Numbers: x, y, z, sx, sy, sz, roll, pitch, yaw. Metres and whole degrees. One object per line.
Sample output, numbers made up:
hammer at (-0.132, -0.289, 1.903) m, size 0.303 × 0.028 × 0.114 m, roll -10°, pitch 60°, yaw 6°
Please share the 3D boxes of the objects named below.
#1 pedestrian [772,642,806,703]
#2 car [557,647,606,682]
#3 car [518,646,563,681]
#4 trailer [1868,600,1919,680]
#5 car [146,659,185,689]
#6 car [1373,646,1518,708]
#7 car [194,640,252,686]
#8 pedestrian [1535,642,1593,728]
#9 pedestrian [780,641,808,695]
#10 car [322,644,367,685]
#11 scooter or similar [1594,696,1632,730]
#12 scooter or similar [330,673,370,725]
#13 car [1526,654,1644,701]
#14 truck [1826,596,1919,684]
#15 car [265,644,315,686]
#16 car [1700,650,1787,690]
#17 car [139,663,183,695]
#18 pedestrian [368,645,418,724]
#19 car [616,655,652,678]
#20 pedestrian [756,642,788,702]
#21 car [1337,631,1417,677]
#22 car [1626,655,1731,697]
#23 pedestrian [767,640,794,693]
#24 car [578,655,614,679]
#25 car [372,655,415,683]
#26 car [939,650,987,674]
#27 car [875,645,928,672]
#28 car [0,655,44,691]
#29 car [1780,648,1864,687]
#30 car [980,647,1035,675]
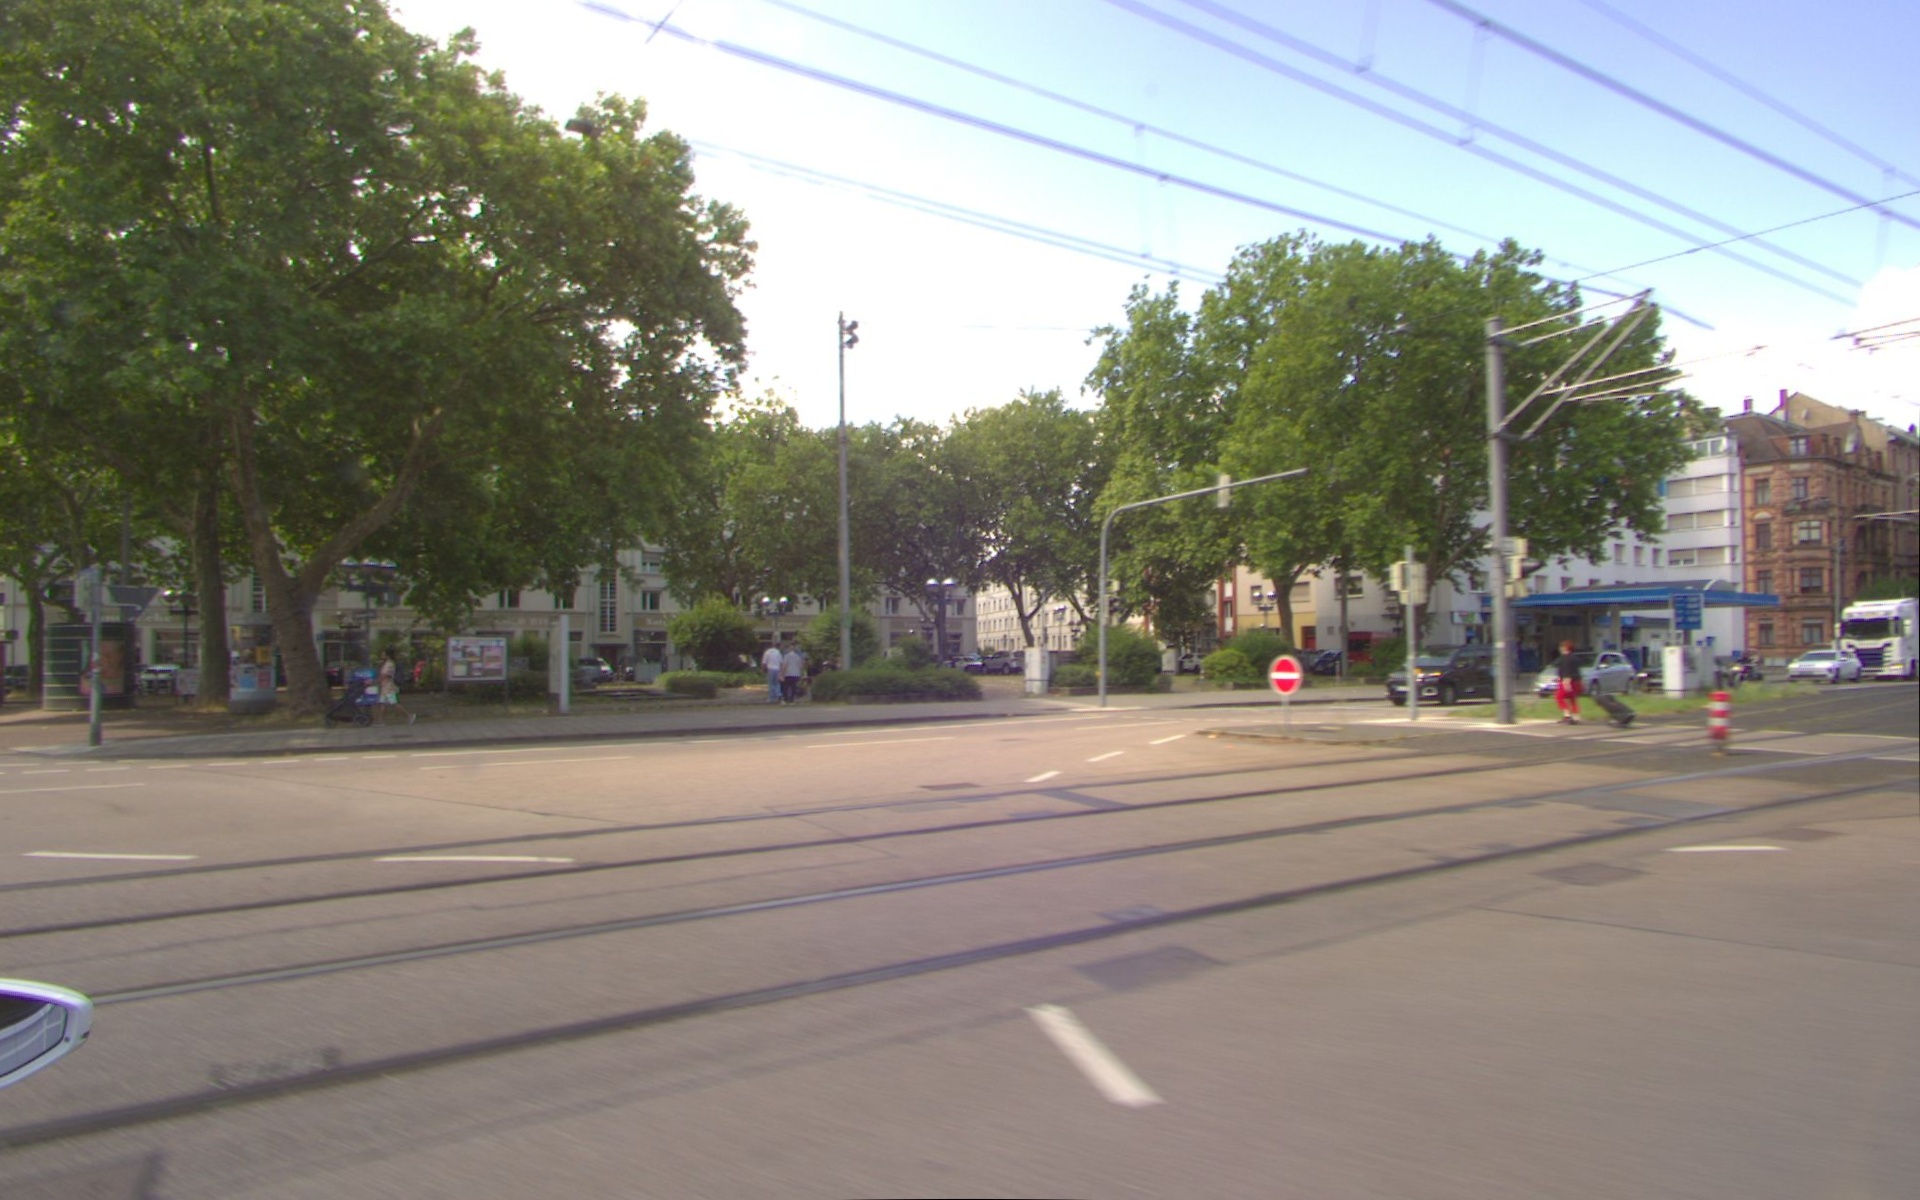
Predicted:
pedestrian at (-4.985, 2.107, 29.180) m, size 0.683 × 1.744 × 0.716 m, roll -1°, pitch -2°, yaw 34°
car at (-23.127, 3.903, 61.169) m, size 1.974 × 2.038 × 3.977 m, roll 1°, pitch -3°, yaw -33°
car at (-25.089, 3.786, 59.853) m, size 1.972 × 2.038 × 3.981 m, roll 1°, pitch -3°, yaw -30°
trailer at (53.834, 2.179, 54.602) m, size 11.483 × 4.128 × 2.904 m, roll 1°, pitch -3°, yaw -30°
car at (-39.234, 3.646, 49.468) m, size 1.454 × 1.406 × 3.212 m, roll 2°, pitch -4°, yaw -39°
car at (14.641, 2.265, 30.138) m, size 4.358 × 1.748 × 1.845 m, roll 2°, pitch -3°, yaw -31°
car at (-37.282, 3.184, 50.743) m, size 1.973 × 2.209 × 4.236 m, roll 1°, pitch -3°, yaw -31°
pedestrian at (11.084, 1.540, 18.373) m, size 0.652 × 1.511 × 0.768 m, roll 2°, pitch -1°, yaw -44°
pedestrian at (-5.473, 2.232, 33.039) m, size 0.598 × 1.772 × 0.695 m, roll -1°, pitch -2°, yaw 34°
car at (-32.985, 3.448, 53.730) m, size 1.973 × 2.101 × 3.980 m, roll 1°, pitch -3°, yaw -31°
scooter or similar at (11.679, 2.015, 17.904) m, size 0.307 × 0.542 × 0.516 m, roll 2°, pitch -1°, yaw -44°
scooter or similar at (-13.054, 2.112, 21.440) m, size 0.698 × 1.069 × 0.488 m, roll 1°, pitch -2°, yaw -31°
car at (21.484, 2.618, 34.385) m, size 4.268 × 1.484 × 1.725 m, roll 2°, pitch -3°, yaw -32°
truck at (47.359, 2.045, 50.912) m, size 6.496 × 4.200 × 2.905 m, roll 1°, pitch -3°, yaw -30°
car at (-35.235, 3.418, 52.719) m, size 1.973 × 2.101 × 3.980 m, roll 1°, pitch -3°, yaw -31°
car at (32.590, 2.866, 41.641) m, size 3.702 × 1.582 × 1.677 m, roll 2°, pitch -3°, yaw -32°
car at (-36.924, 3.642, 46.263) m, size 1.454 × 1.406 × 3.042 m, roll 2°, pitch -4°, yaw -40°
pedestrian at (-12.374, 1.824, 21.847) m, size 0.910 × 1.666 × 0.567 m, roll 1°, pitch -2°, yaw -31°
car at (-23.705, 4.815, 72.713) m, size 1.720 × 1.657 × 3.982 m, roll 1°, pitch -3°, yaw -30°
pedestrian at (-5.737, 2.175, 30.498) m, size 0.683 × 1.786 × 0.666 m, roll -1°, pitch -2°, yaw 34°
car at (23.084, 2.981, 55.427) m, size 3.945 × 2.450 × 2.102 m, roll 1°, pitch -3°, yaw -31°
car at (27.467, 2.877, 38.266) m, size 3.918 × 1.465 × 1.845 m, roll 1°, pitch -2°, yaw -31°
pedestrian at (-6.141, 2.266, 34.329) m, size 0.598 × 1.772 × 0.695 m, roll -1°, pitch -2°, yaw 34°
car at (-25.957, 4.767, 71.358) m, size 1.720 × 1.657 × 3.982 m, roll 1°, pitch -3°, yaw -30°
car at (-31.222, 3.775, 55.147) m, size 1.973 × 1.439 × 3.980 m, roll 1°, pitch -4°, yaw -31°
car at (0.208, 4.646, 75.357) m, size 1.828 × 1.701 × 3.982 m, roll 1°, pitch -3°, yaw -30°
car at (-4.304, 4.252, 72.898) m, size 2.074 × 1.929 × 4.471 m, roll 1°, pitch -3°, yaw -30°
car at (-44.553, 3.388, 46.671) m, size 2.008 × 1.620 × 4.513 m, roll 1°, pitch -3°, yaw -34°
car at (40.575, 3.142, 47.124) m, size 4.077 × 1.727 × 1.845 m, roll 2°, pitch -3°, yaw -31°
car at (3.187, 4.099, 67.763) m, size 1.843 × 1.822 × 3.982 m, roll 1°, pitch -3°, yaw -30°
